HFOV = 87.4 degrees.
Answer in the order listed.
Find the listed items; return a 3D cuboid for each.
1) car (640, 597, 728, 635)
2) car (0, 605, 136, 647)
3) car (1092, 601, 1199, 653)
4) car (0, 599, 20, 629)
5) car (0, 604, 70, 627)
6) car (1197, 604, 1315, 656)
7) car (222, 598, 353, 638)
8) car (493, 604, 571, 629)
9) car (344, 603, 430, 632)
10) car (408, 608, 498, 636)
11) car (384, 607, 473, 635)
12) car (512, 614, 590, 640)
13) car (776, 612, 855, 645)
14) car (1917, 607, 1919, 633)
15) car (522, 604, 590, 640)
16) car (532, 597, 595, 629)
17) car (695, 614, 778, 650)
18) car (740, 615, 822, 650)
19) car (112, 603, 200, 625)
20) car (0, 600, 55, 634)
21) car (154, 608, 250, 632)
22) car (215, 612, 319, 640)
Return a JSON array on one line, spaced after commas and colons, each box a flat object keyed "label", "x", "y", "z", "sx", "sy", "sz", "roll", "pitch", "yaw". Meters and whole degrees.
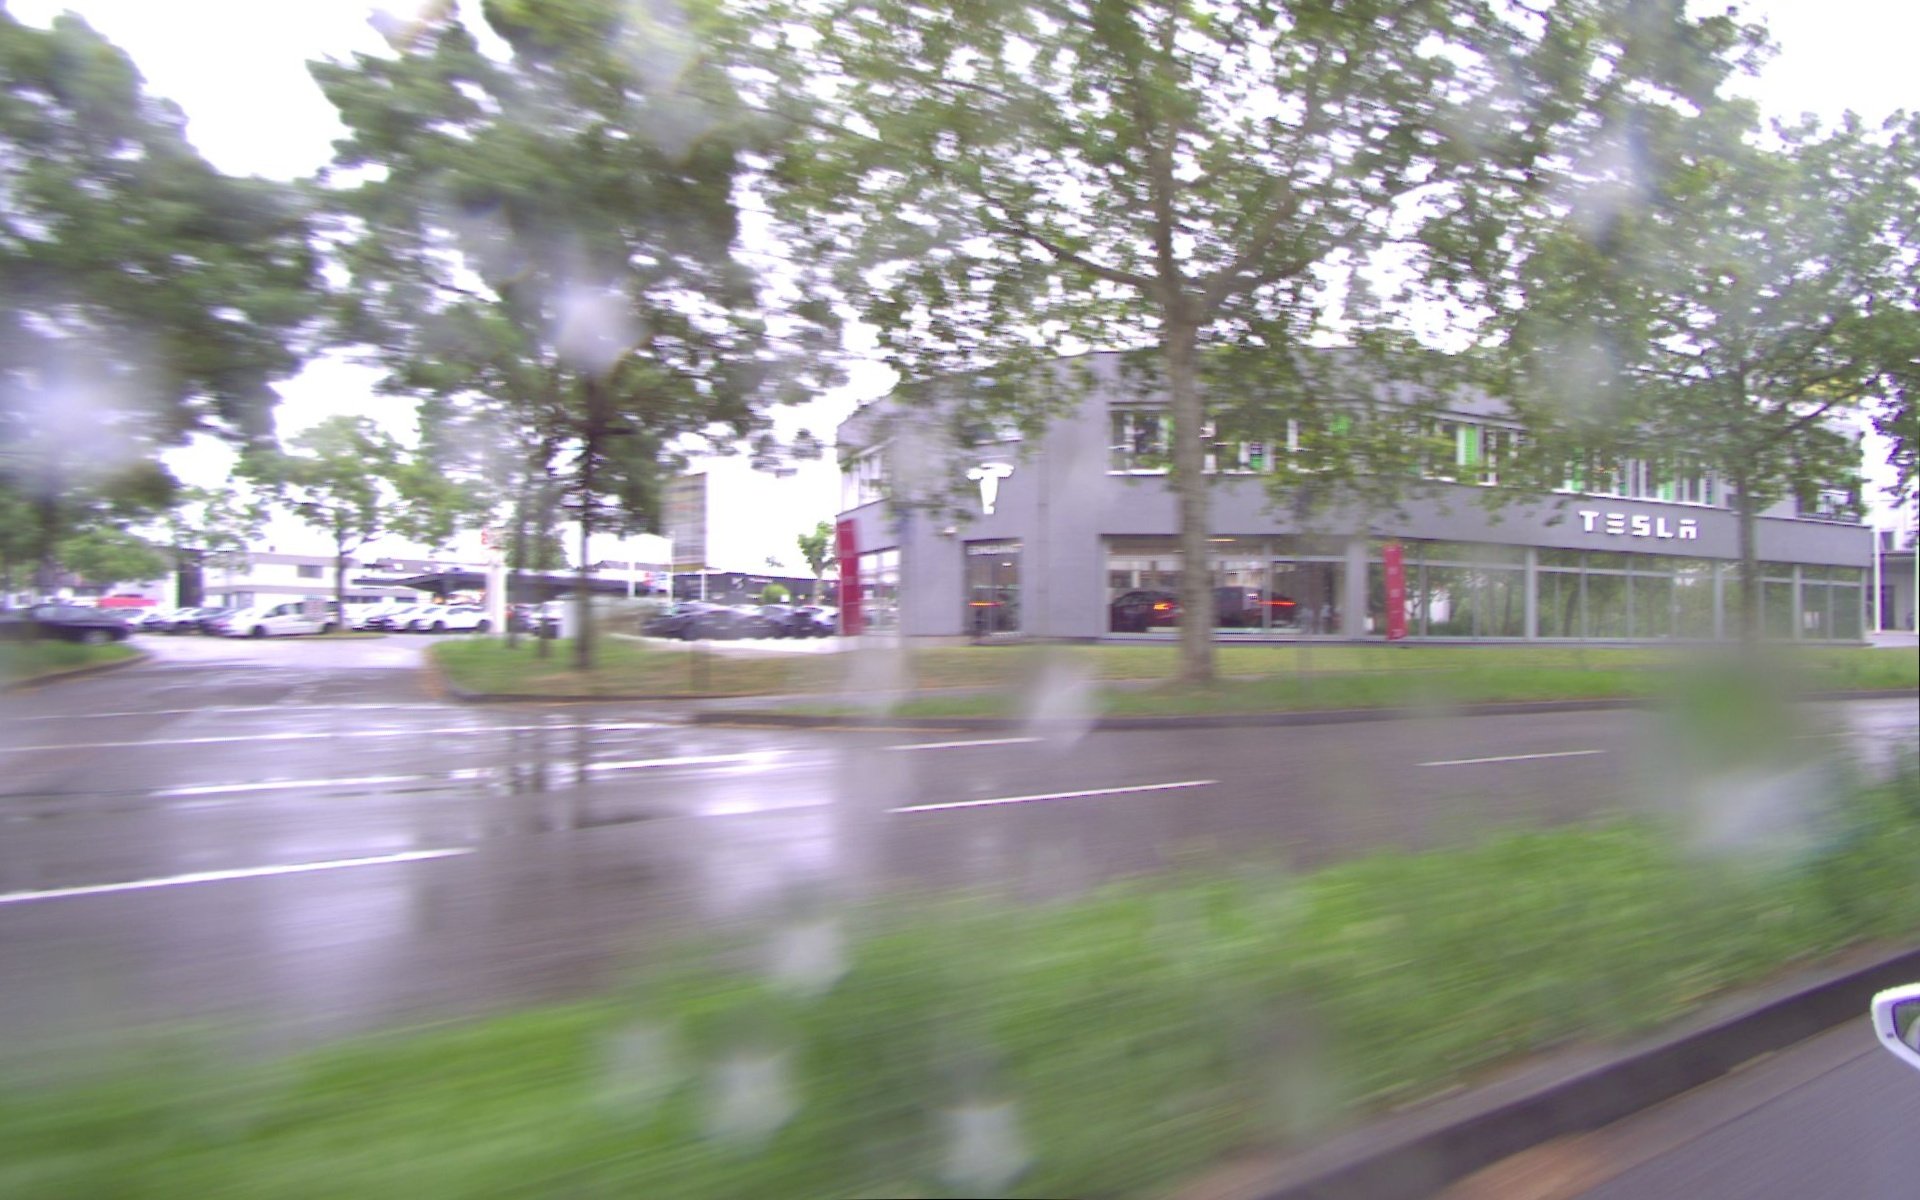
[{"label": "car", "x": -11.453, "y": 0.655, "z": 41.553, "sx": 4.147, "sy": 1.514, "sz": 1.588, "roll": 0, "pitch": -1, "yaw": 44}, {"label": "car", "x": -31.252, "y": 0.898, "z": 34.556, "sx": 1.573, "sy": 1.376, "sz": 4.274, "roll": 0, "pitch": -1, "yaw": 38}, {"label": "car", "x": 5.749, "y": 0.840, "z": 31.660, "sx": 1.572, "sy": 1.514, "sz": 4.190, "roll": 1, "pitch": -1, "yaw": -17}, {"label": "car", "x": -44.912, "y": 0.596, "z": 44.814, "sx": 1.573, "sy": 1.376, "sz": 4.187, "roll": 0, "pitch": -1, "yaw": 38}, {"label": "car", "x": -75.674, "y": 1.279, "z": 82.091, "sx": 1.573, "sy": 1.786, "sz": 4.187, "roll": 0, "pitch": -1, "yaw": 38}, {"label": "car", "x": 9.294, "y": 0.924, "z": 31.915, "sx": 1.572, "sy": 1.514, "sz": 4.190, "roll": 1, "pitch": -1, "yaw": -17}, {"label": "car", "x": -33.883, "y": 0.932, "z": 50.781, "sx": 1.765, "sy": 1.888, "sz": 5.211, "roll": 0, "pitch": -1, "yaw": 37}, {"label": "car", "x": -26.452, "y": 1.033, "z": 62.195, "sx": 1.572, "sy": 1.514, "sz": 4.190, "roll": 0, "pitch": -1, "yaw": 36}, {"label": "car", "x": -34.033, "y": 1.055, "z": 59.771, "sx": 1.572, "sy": 1.678, "sz": 4.190, "roll": 0, "pitch": -1, "yaw": 36}, {"label": "car", "x": -28.032, "y": 1.217, "z": 55.603, "sx": 1.572, "sy": 1.514, "sz": 4.190, "roll": 0, "pitch": -1, "yaw": 36}, {"label": "car", "x": -30.096, "y": 1.198, "z": 56.991, "sx": 1.572, "sy": 1.514, "sz": 4.190, "roll": 0, "pitch": -1, "yaw": 36}, {"label": "car", "x": -24.628, "y": 1.629, "z": 60.582, "sx": 1.572, "sy": 1.514, "sz": 4.190, "roll": 0, "pitch": -1, "yaw": 36}, {"label": "car", "x": -7.098, "y": 1.392, "z": 49.103, "sx": 4.147, "sy": 1.514, "sz": 1.588, "roll": 0, "pitch": -1, "yaw": 44}, {"label": "car", "x": 55.061, "y": 1.065, "z": 55.233, "sx": 4.089, "sy": 1.415, "sz": 1.762, "roll": -1, "pitch": 1, "yaw": -17}, {"label": "car", "x": -21.759, "y": 1.177, "z": 54.255, "sx": 1.782, "sy": 1.837, "sz": 4.207, "roll": 1, "pitch": -1, "yaw": 3}, {"label": "car", "x": -19.737, "y": 0.663, "z": 50.134, "sx": 1.850, "sy": 1.514, "sz": 4.201, "roll": 1, "pitch": -1, "yaw": -7}, {"label": "car", "x": -9.919, "y": 1.386, "z": 44.459, "sx": 4.147, "sy": 1.514, "sz": 1.588, "roll": 0, "pitch": -1, "yaw": 44}, {"label": "car", "x": -8.318, "y": 1.472, "z": 46.396, "sx": 4.147, "sy": 1.514, "sz": 1.588, "roll": 0, "pitch": -1, "yaw": 44}, {"label": "car", "x": -51.457, "y": 0.906, "z": 64.337, "sx": 1.573, "sy": 1.376, "sz": 4.187, "roll": 0, "pitch": -1, "yaw": 38}, {"label": "car", "x": -38.935, "y": 0.663, "z": 39.931, "sx": 1.573, "sy": 1.376, "sz": 4.187, "roll": 0, "pitch": -1, "yaw": 38}, {"label": "car", "x": -43.993, "y": 1.176, "z": 58.348, "sx": 1.573, "sy": 1.376, "sz": 4.187, "roll": 0, "pitch": -1, "yaw": 38}, {"label": "car", "x": -36.303, "y": 1.370, "z": 52.698, "sx": 1.573, "sy": 1.376, "sz": 4.187, "roll": 0, "pitch": -1, "yaw": 38}]
